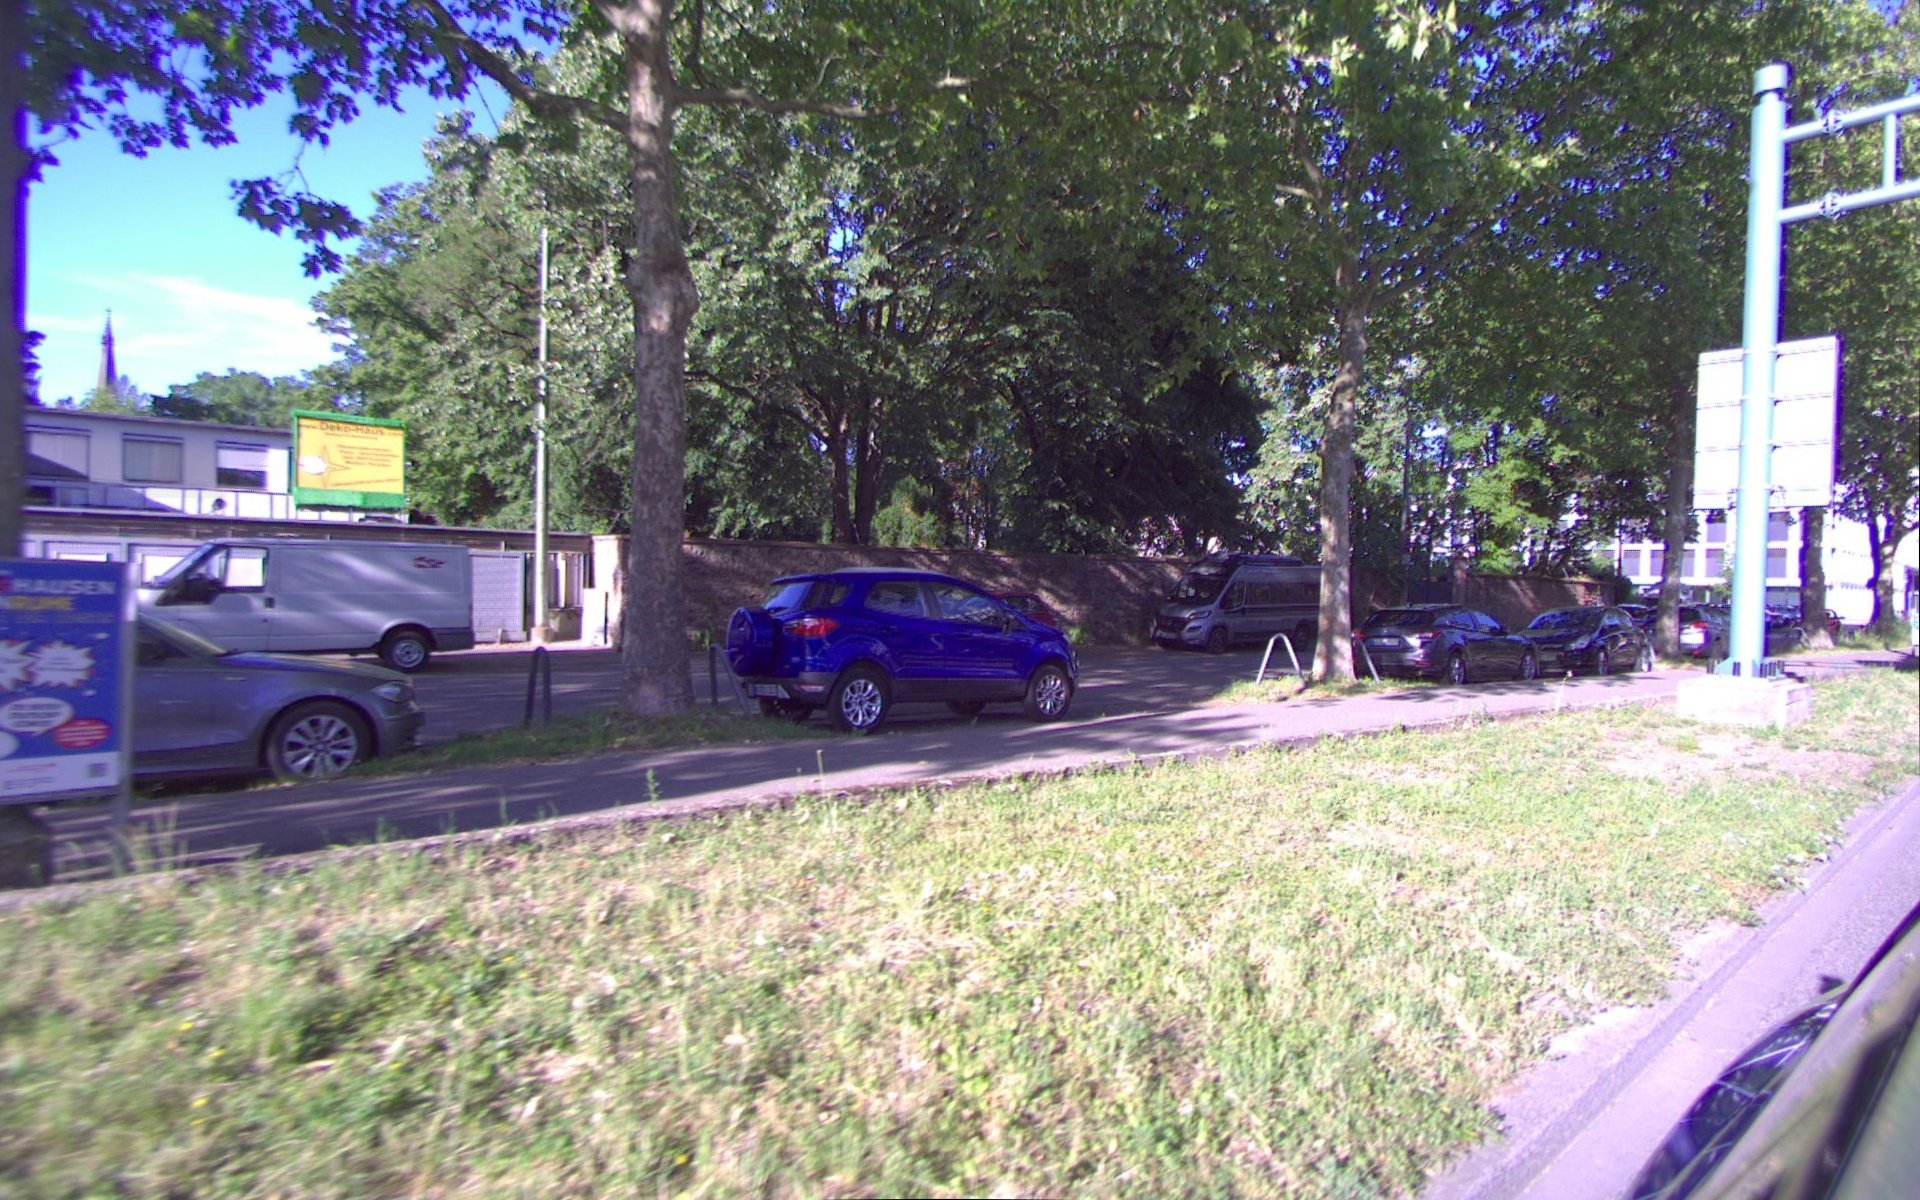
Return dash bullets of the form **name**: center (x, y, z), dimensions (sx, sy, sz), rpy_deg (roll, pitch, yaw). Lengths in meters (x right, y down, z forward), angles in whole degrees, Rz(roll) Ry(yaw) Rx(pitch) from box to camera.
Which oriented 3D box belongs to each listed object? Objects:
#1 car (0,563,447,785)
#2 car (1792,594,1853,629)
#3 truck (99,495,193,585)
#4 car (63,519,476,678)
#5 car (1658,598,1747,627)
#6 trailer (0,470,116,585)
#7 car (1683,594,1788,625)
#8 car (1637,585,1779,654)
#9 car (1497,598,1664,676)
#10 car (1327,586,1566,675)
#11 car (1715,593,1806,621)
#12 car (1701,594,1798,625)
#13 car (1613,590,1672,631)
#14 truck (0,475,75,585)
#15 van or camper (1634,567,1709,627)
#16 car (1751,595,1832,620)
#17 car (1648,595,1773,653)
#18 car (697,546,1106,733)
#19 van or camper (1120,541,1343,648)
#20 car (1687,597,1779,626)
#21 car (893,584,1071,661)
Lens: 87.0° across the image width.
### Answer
- **car**: center (-5.957, 0.428, 7.004), dimensions (3.980, 1.306, 1.998), rpy_deg (0, 0, -39)
- **car**: center (42.281, 0.533, 49.679), dimensions (1.988, 1.660, 3.947), rpy_deg (0, 0, 36)
- **truck**: center (-28.198, -1.997, 35.161), dimensions (2.187, 2.951, 2.903), rpy_deg (0, 0, -31)
- **car**: center (-10.148, -0.039, 15.264), dimensions (4.849, 2.039, 2.093), rpy_deg (0, 1, -36)
- **car**: center (43.515, 0.718, 59.365), dimensions (1.736, 1.523, 3.992), rpy_deg (0, 1, -43)
- **trailer**: center (-32.956, -2.391, 36.534), dimensions (2.632, 3.609, 8.820), rpy_deg (0, 0, -32)
- **car**: center (47.331, 0.542, 61.849), dimensions (1.964, 1.422, 4.733), rpy_deg (0, 5, -40)
- **car**: center (18.681, 0.465, 25.245), dimensions (3.946, 1.580, 1.797), rpy_deg (0, -2, -38)
- **car**: center (12.954, 0.689, 21.046), dimensions (3.814, 1.456, 1.797), rpy_deg (0, 0, -39)
- **car**: center (8.773, 0.482, 18.099), dimensions (4.591, 1.399, 1.998), rpy_deg (0, -1, -37)
- **car**: center (51.740, 0.425, 65.445), dimensions (1.875, 1.496, 4.334), rpy_deg (2, 3, -43)
- **car**: center (49.606, 0.564, 63.641), dimensions (1.963, 1.427, 4.396), rpy_deg (1, 5, -37)
- **car**: center (31.644, 0.461, 46.901), dimensions (1.837, 1.637, 3.944), rpy_deg (6, 4, 38)
- **truck**: center (-30.173, -2.182, 32.143), dimensions (2.662, 3.311, 2.491), rpy_deg (2, -1, -33)
- **van or camper**: center (35.684, -0.191, 50.705), dimensions (4.882, 2.764, 1.997), rpy_deg (0, 4, -44)
- **car**: center (58.208, 0.480, 70.926), dimensions (1.685, 1.486, 4.091), rpy_deg (0, 3, -39)
- **car**: center (22.963, 0.678, 30.925), dimensions (4.539, 1.655, 1.798), rpy_deg (0, 0, -36)
- **car**: center (-0.503, 0.339, 11.037), dimensions (4.275, 1.662, 1.740), rpy_deg (0, 0, -39)
- **van or camper**: center (7.868, -0.161, 28.988), dimensions (6.440, 2.716, 2.566), rpy_deg (1, 3, -36)
- **car**: center (45.804, 0.668, 60.045), dimensions (1.590, 1.409, 4.000), rpy_deg (0, 3, -37)
- **car**: center (0.525, 0.459, 22.785), dimensions (3.686, 1.490, 1.697), rpy_deg (0, 4, -35)
